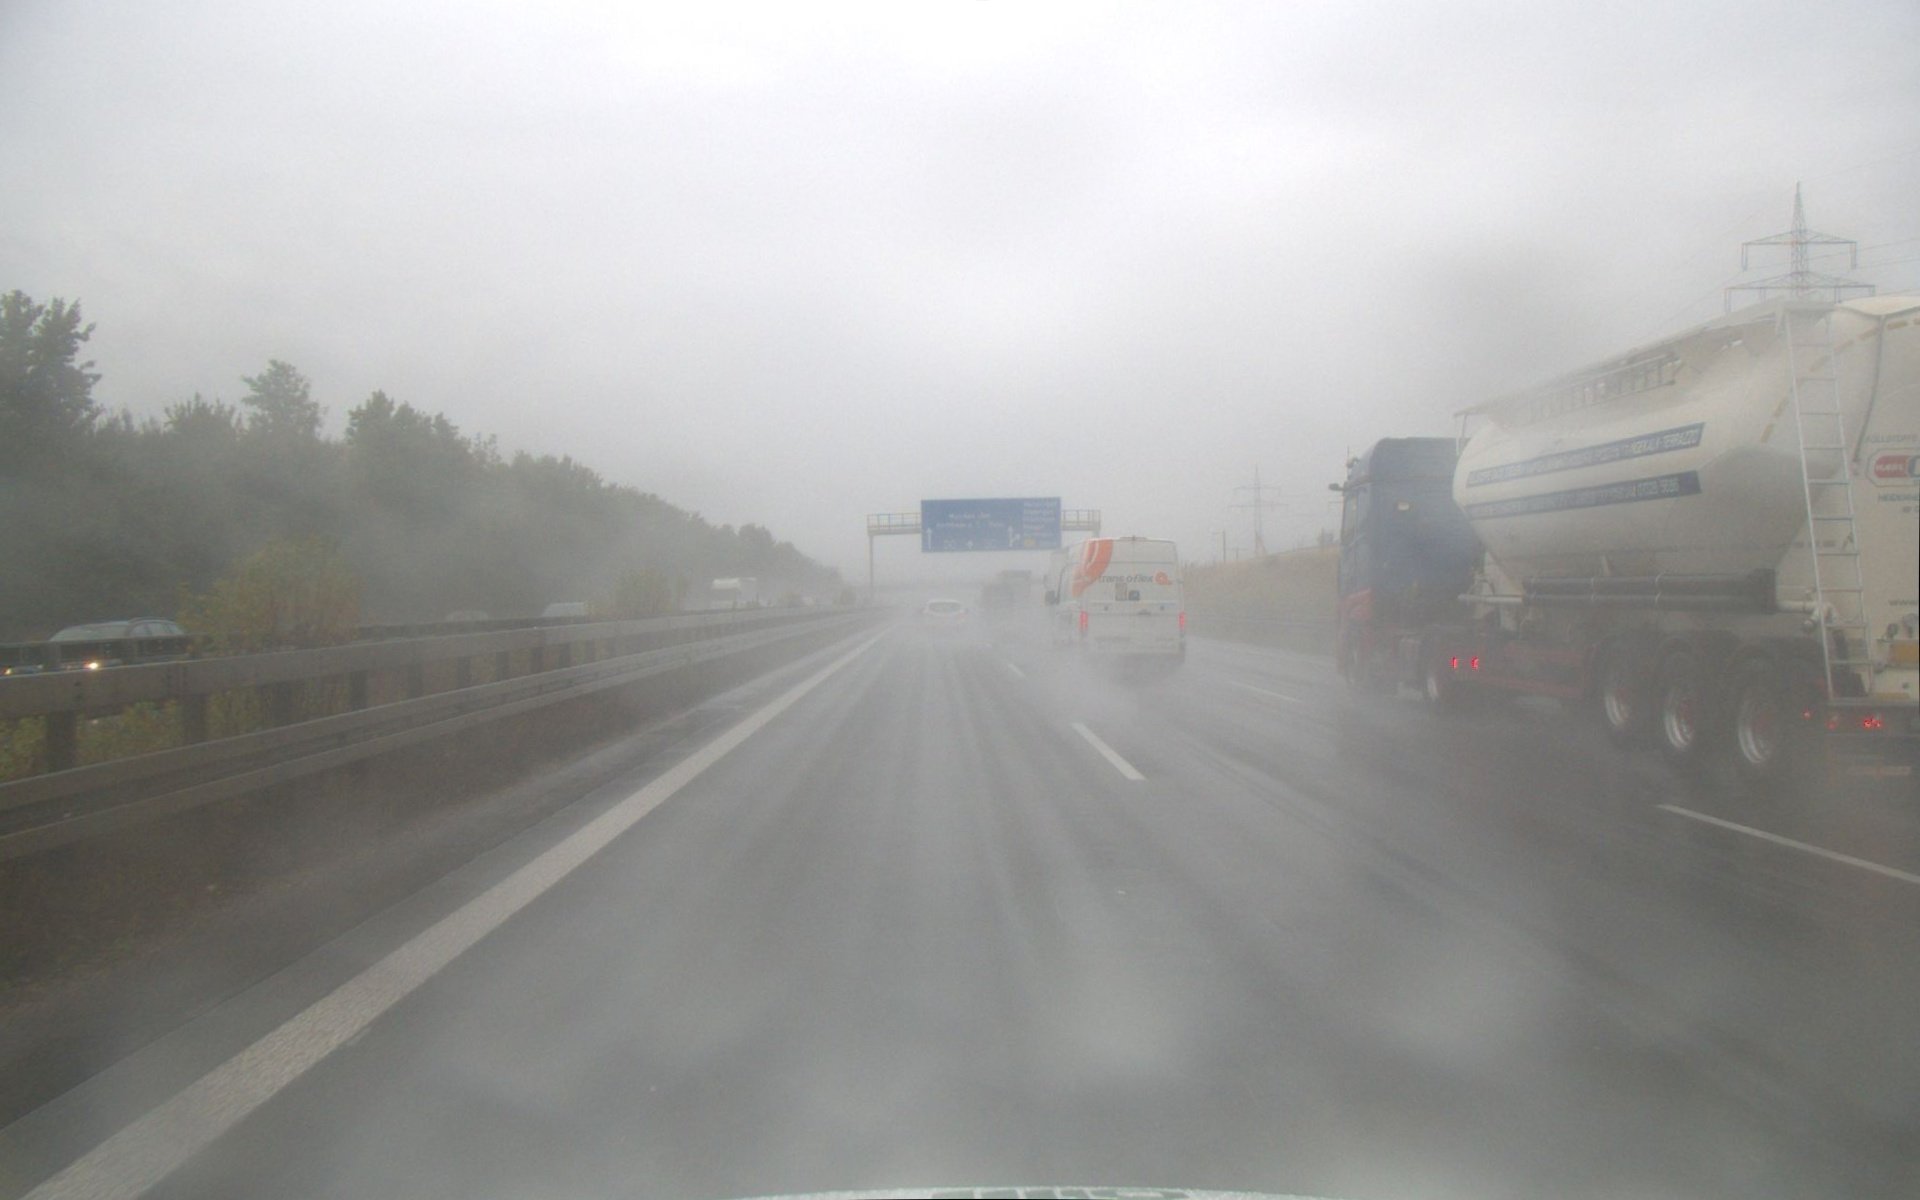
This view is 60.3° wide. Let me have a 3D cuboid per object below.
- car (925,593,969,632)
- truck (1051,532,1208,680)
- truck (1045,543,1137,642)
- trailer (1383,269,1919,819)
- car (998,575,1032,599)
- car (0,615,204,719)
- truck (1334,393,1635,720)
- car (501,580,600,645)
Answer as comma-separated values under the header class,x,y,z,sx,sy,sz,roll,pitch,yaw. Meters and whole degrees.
class,x,y,z,sx,sy,sz,roll,pitch,yaw
car,-0.523,0.430,61.817,1.573,1.361,3.847,1,1,-1
truck,3.089,0.078,31.461,2.370,2.536,5.559,1,1,0
truck,6.662,-0.333,86.694,2.978,4.668,16.344,1,0,-2
trailer,7.272,-0.454,17.488,2.447,3.950,11.063,1,1,-2
car,4.847,-1.139,146.047,2.731,2.049,4.992,1,1,-1
car,-15.297,1.092,28.756,2.114,1.539,4.903,1,1,-1
truck,7.118,-0.568,23.164,2.446,4.053,5.074,1,1,-2
car,-12.726,0.348,51.680,1.990,1.918,4.627,1,1,-1
